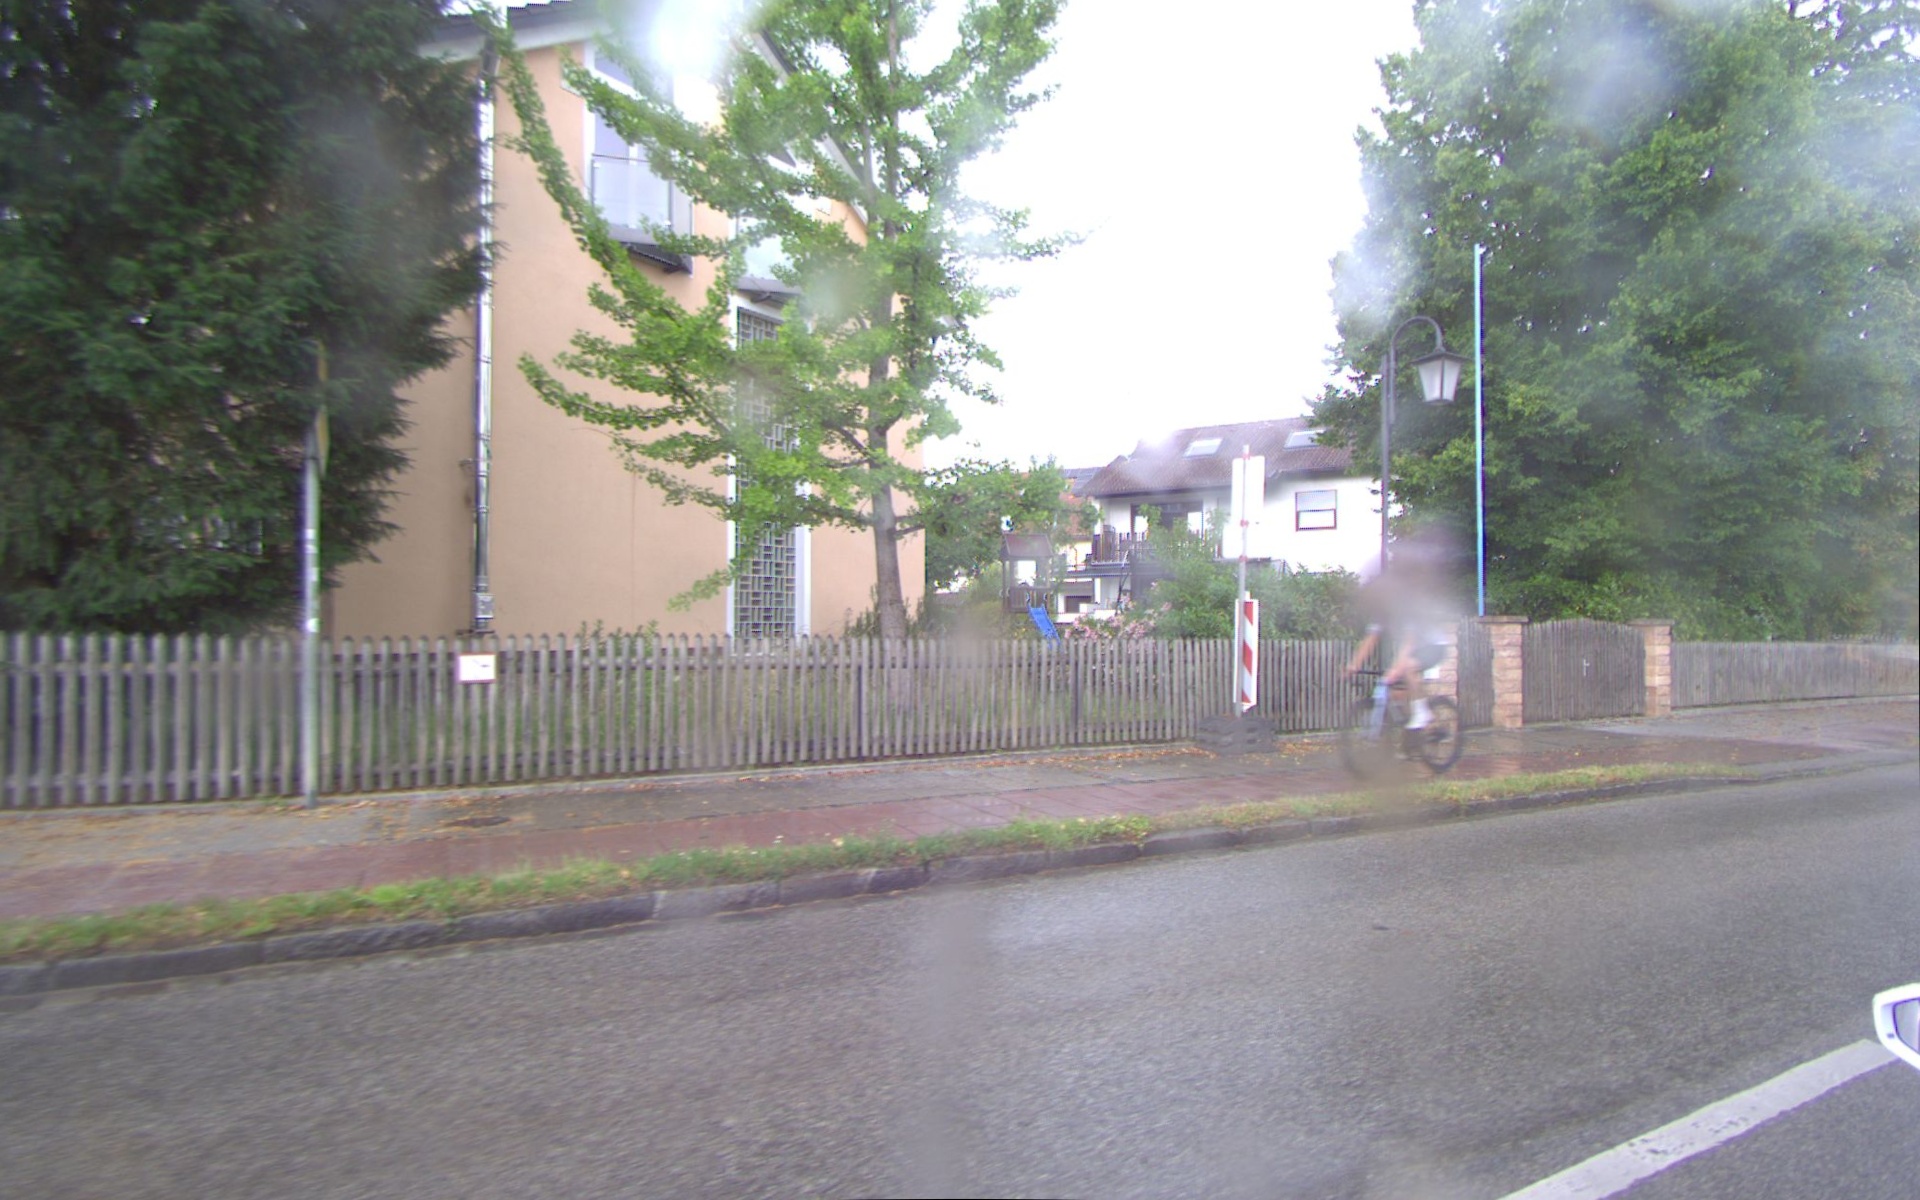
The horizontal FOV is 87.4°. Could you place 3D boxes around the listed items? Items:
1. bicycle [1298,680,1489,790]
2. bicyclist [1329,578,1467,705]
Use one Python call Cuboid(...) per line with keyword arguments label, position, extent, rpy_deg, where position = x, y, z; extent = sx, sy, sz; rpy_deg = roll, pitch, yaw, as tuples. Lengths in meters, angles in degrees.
Cuboid(label="bicycle", position=(3.795, 1.133, 8.730), extent=(1.954, 0.809, 0.454), rpy_deg=(1, 0, -31))
Cuboid(label="bicyclist", position=(3.809, 0.349, 8.736), extent=(1.048, 1.035, 0.584), rpy_deg=(1, 0, -30))
